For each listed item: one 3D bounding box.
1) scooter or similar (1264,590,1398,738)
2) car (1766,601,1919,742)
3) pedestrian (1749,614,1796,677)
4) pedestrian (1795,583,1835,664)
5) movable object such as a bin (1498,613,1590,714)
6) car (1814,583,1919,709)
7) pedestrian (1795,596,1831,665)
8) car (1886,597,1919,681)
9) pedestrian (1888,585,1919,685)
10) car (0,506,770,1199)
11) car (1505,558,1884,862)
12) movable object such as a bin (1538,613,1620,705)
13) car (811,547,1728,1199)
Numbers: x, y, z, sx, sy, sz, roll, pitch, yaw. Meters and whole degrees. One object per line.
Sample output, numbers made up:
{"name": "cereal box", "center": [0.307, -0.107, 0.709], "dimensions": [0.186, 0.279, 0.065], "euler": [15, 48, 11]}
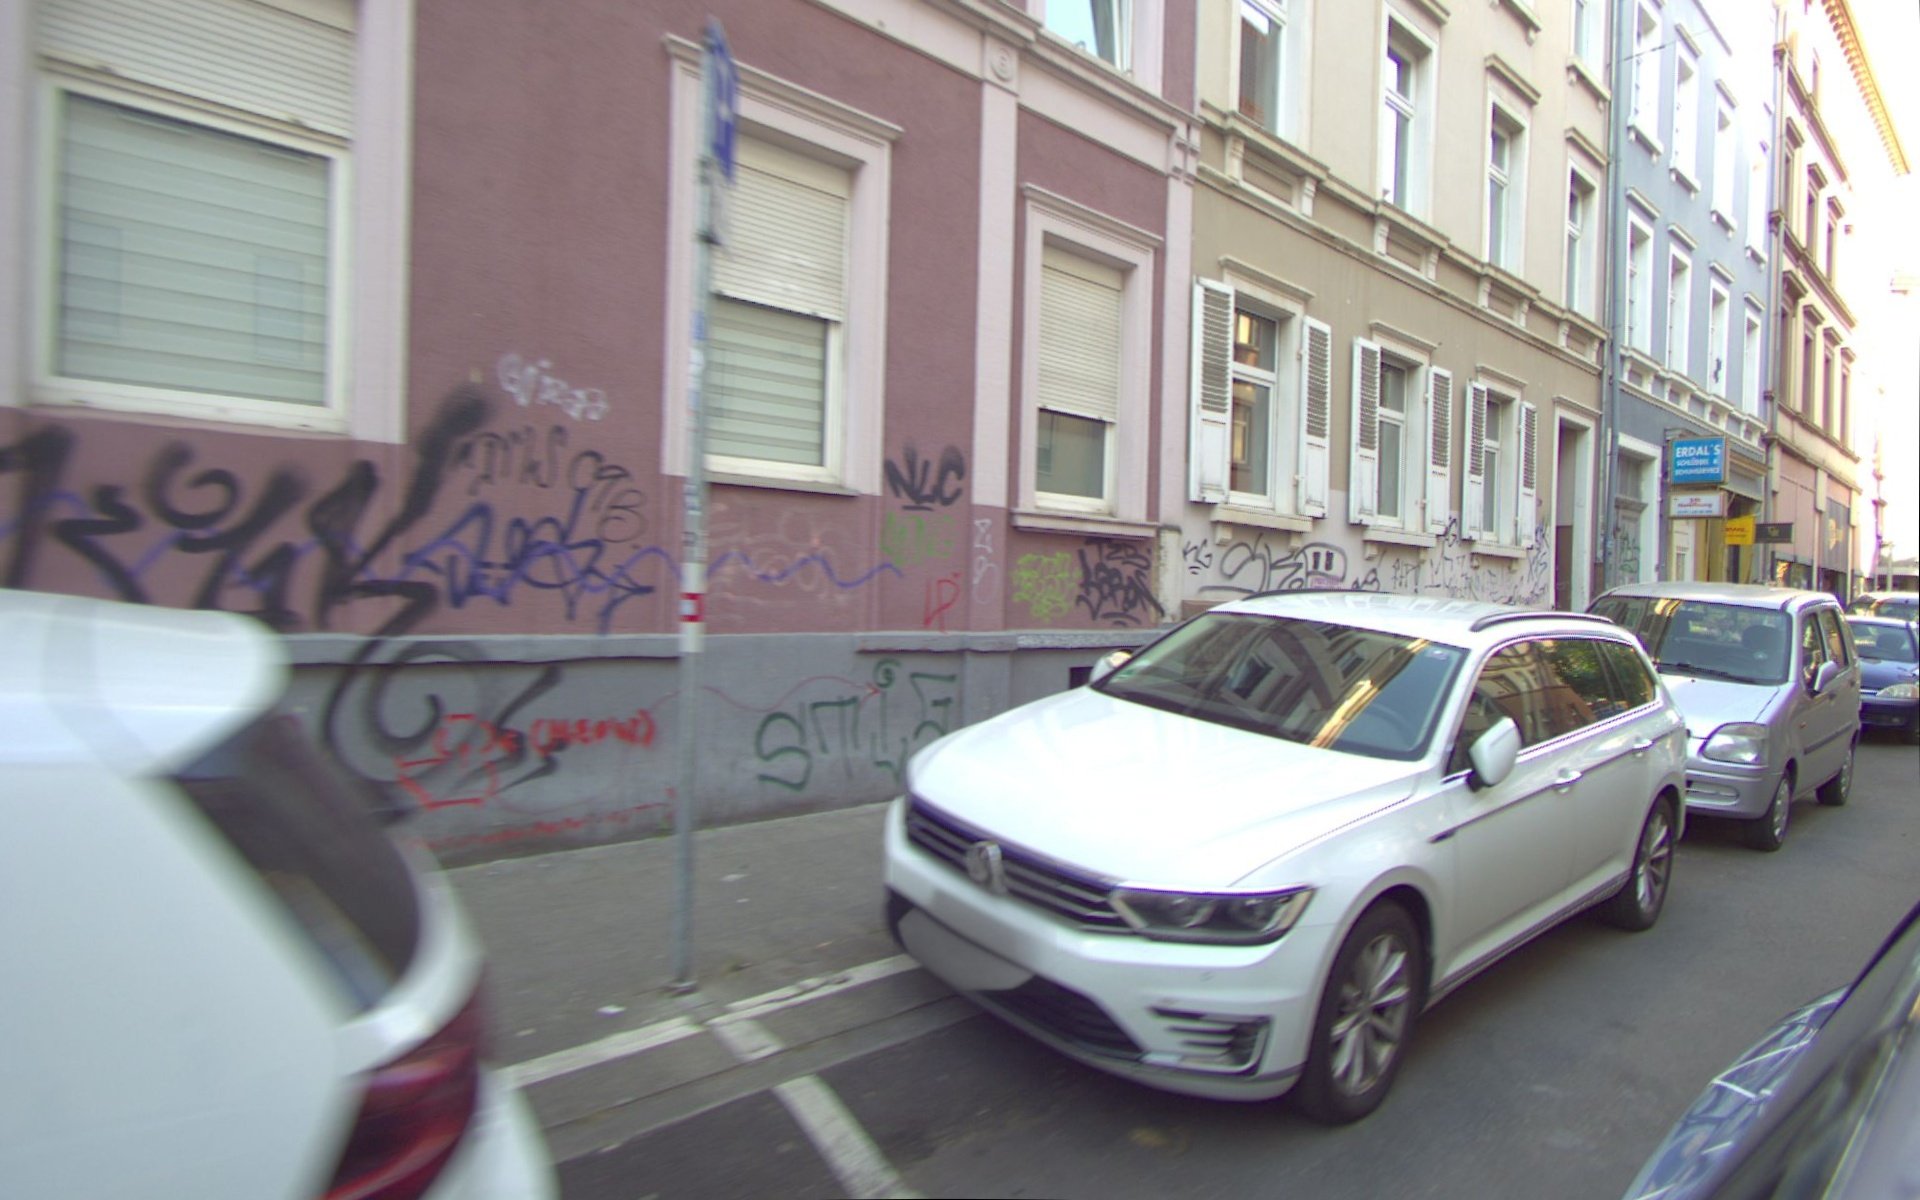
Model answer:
{"name": "scooter or similar", "center": [3.333, 0.533, 9.045], "dimensions": [1.345, 1.196, 0.451], "euler": [0, 5, -42]}
{"name": "car", "center": [11.479, 0.785, 12.790], "dimensions": [3.551, 1.530, 1.554], "euler": [0, 1, -44]}
{"name": "pedestrian", "center": [16.358, 0.908, 20.389], "dimensions": [0.504, 1.238, 0.532], "euler": [1, 0, -1]}
{"name": "pedestrian", "center": [19.051, 0.509, 22.561], "dimensions": [0.627, 1.762, 0.650], "euler": [1, 0, 37]}
{"name": "movable object such as a bin", "center": [6.982, 0.737, 12.109], "dimensions": [0.549, 1.101, 0.754], "euler": [1, 3, -41]}
{"name": "car", "center": [15.309, 0.662, 16.193], "dimensions": [4.240, 1.816, 1.902], "euler": [0, 1, -41]}
{"name": "pedestrian", "center": [19.449, 0.680, 23.080], "dimensions": [0.587, 1.549, 0.648], "euler": [1, 0, 44]}
{"name": "car", "center": [19.958, 0.791, 20.234], "dimensions": [3.254, 1.575, 1.574], "euler": [0, 5, -39]}
{"name": "pedestrian", "center": [16.956, 0.609, 18.000], "dimensions": [0.421, 1.762, 0.560], "euler": [1, 0, 15]}
{"name": "car", "center": [-2.292, 0.653, 0.543], "dimensions": [3.976, 1.562, 1.690], "euler": [0, 4, -42]}
{"name": "car", "center": [5.561, 0.615, 7.514], "dimensions": [3.497, 1.733, 1.559], "euler": [0, 1, -41]}
{"name": "movable object such as a bin", "center": [7.973, 0.739, 13.038], "dimensions": [0.621, 1.101, 0.696], "euler": [1, 3, -41]}
{"name": "car", "center": [1.750, 0.651, 4.477], "dimensions": [4.548, 1.562, 1.700], "euler": [0, 4, -42]}
